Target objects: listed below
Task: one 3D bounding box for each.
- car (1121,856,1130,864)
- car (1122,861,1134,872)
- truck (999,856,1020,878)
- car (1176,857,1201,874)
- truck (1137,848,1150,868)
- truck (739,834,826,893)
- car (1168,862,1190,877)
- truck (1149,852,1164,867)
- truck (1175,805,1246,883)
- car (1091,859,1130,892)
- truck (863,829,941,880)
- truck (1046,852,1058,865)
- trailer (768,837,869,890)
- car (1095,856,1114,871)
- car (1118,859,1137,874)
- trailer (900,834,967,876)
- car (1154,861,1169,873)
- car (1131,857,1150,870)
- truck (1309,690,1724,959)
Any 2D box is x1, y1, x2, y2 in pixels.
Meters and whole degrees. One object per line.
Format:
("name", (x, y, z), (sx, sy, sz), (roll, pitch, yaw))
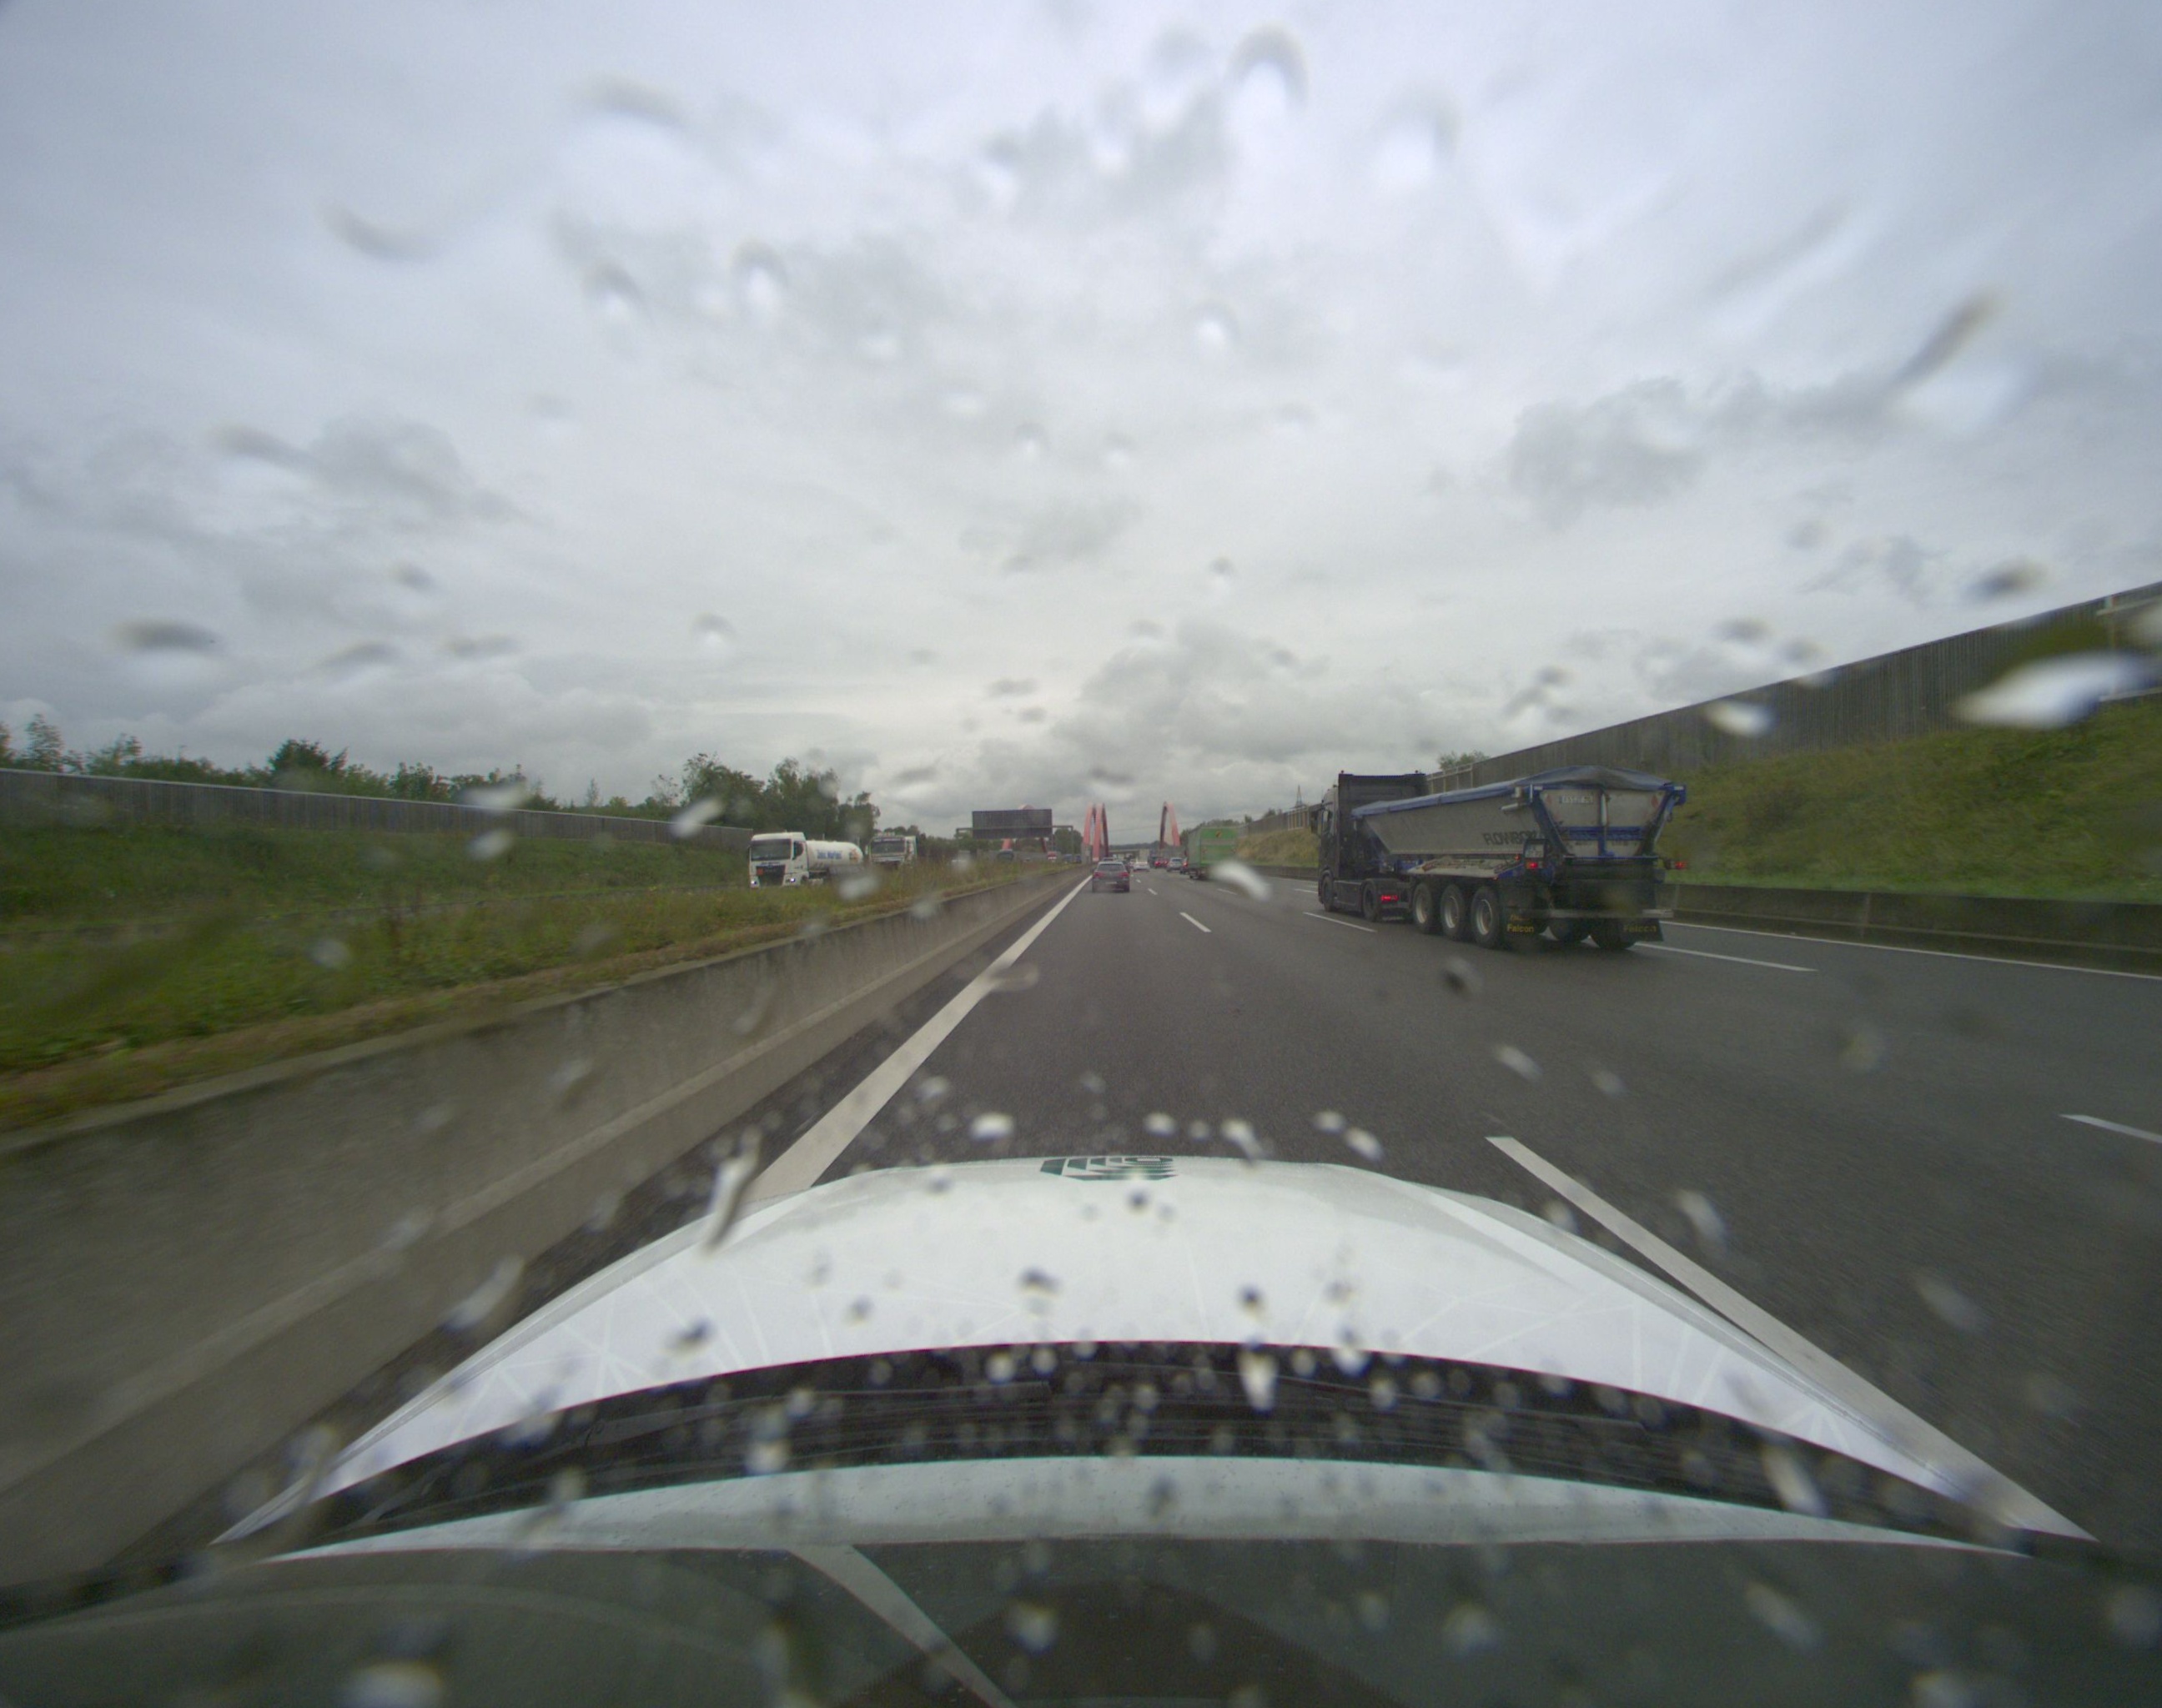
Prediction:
("car", (10.530, 1.462, 192.379), (1.985, 1.815, 4.002), (0, 0, 2))
("car", (7.288, 1.946, 125.757), (1.696, 1.543, 3.839), (0, 0, 1))
("truck", (-12.704, 2.240, 145.187), (2.852, 3.838, 7.524), (0, 0, 2))
("car", (10.694, 1.154, 81.148), (1.906, 1.670, 4.102), (0, 0, -1))
("truck", (15.135, 0.931, 198.258), (3.032, 4.734, 7.684), (0, -1, 3))
("truck", (-16.193, 0.519, 44.574), (2.613, 3.019, 5.612), (0, 0, 0))
("car", (11.241, 1.774, 93.776), (1.986, 1.619, 5.330), (0, 0, 2))
("truck", (12.824, 0.893, 138.787), (2.351, 2.506, 6.148), (0, 0, 3))
("truck", (9.408, -0.614, 60.673), (3.981, 5.266, 11.226), (0, 0, 3))
("car", (1.416, 0.991, 38.206), (1.756, 1.453, 4.003), (0, 0, 3))
("truck", (-11.678, 0.044, 54.024), (2.944, 3.067, 8.731), (0, 0, 2))
("truck", (-8.500, 1.367, 238.958), (2.973, 3.753, 5.919), (0, 0, 2))
("trailer", (-16.047, 0.550, 50.852), (2.602, 2.989, 10.798), (0, 0, 1))
("car", (2.614, 1.078, 90.681), (1.986, 1.585, 4.001), (-1, 0, 1))
("car", (4.704, 1.236, 82.439), (1.775, 1.406, 3.628), (0, 0, 2))
("trailer", (-11.316, 0.125, 63.671), (2.944, 2.959, 10.573), (0, 0, 2))
("car", (12.178, 1.961, 123.737), (1.950, 1.647, 4.001), (0, 0, 2))
("car", (6.977, 1.156, 95.658), (1.986, 1.486, 4.001), (0, 0, 2))
("truck", (8.183, -0.394, 18.353), (2.803, 3.950, 12.715), (0, 0, 1))
